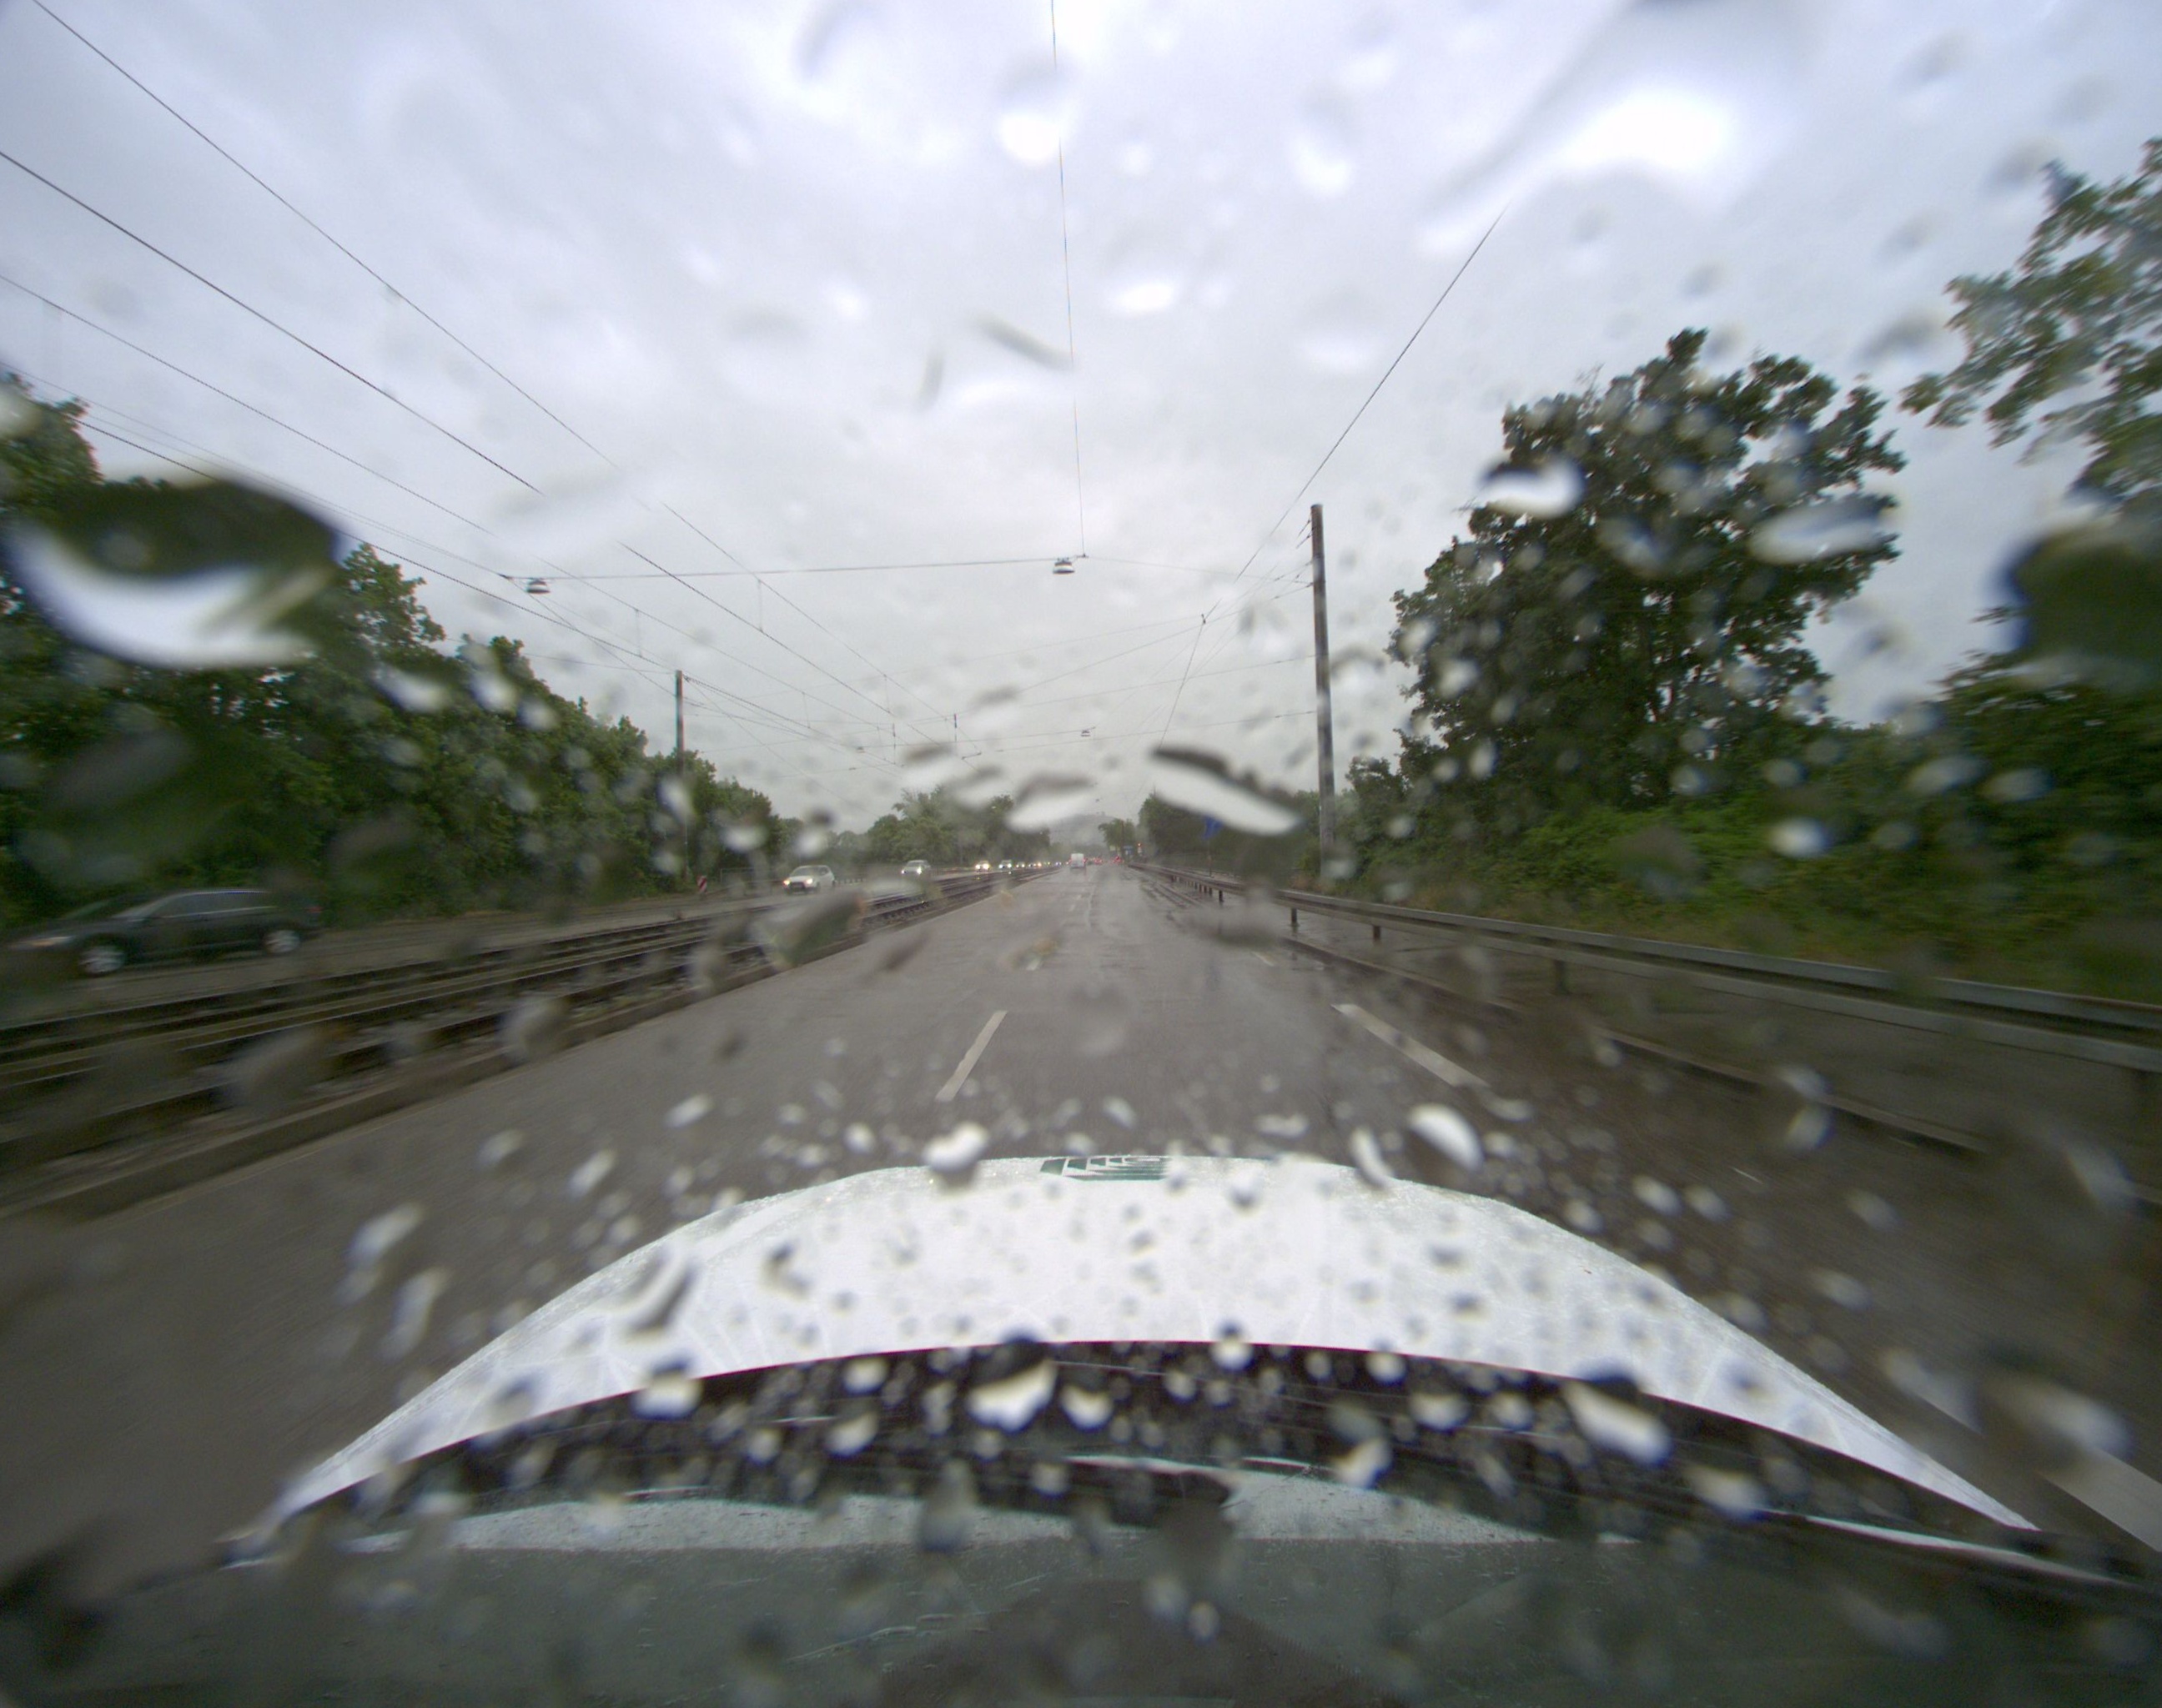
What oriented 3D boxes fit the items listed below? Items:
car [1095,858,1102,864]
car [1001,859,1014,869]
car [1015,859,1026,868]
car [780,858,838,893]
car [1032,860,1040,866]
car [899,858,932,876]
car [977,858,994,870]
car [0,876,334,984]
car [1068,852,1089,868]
[{"bbox_3d":[4.629,1.831,214.582,1.737,1.508,3.701,0,1,1],"label":"car"},{"bbox_3d":[-11.923,1.599,132.676,1.737,1.508,3.701,0,1,1],"label":"car"},{"bbox_3d":[-11.686,1.846,158.371,1.737,1.508,3.701,0,1,1],"label":"car"},{"bbox_3d":[-14.598,1.123,43.914,1.748,1.711,4.001,0,1,1],"label":"car"},{"bbox_3d":[-10.949,2.203,198.164,1.737,1.508,3.701,0,1,1],"label":"car"},{"bbox_3d":[-14.026,1.077,69.304,1.791,1.453,4.197,0,1,2],"label":"car"},{"bbox_3d":[-13.044,1.362,111.268,1.737,1.508,3.701,0,1,1],"label":"car"},{"bbox_3d":[-17.053,1.264,15.222,1.681,1.519,4.617,0,1,5],"label":"car"},{"bbox_3d":[-0.261,0.610,86.695,1.981,1.684,3.743,0,1,3],"label":"car"}]
